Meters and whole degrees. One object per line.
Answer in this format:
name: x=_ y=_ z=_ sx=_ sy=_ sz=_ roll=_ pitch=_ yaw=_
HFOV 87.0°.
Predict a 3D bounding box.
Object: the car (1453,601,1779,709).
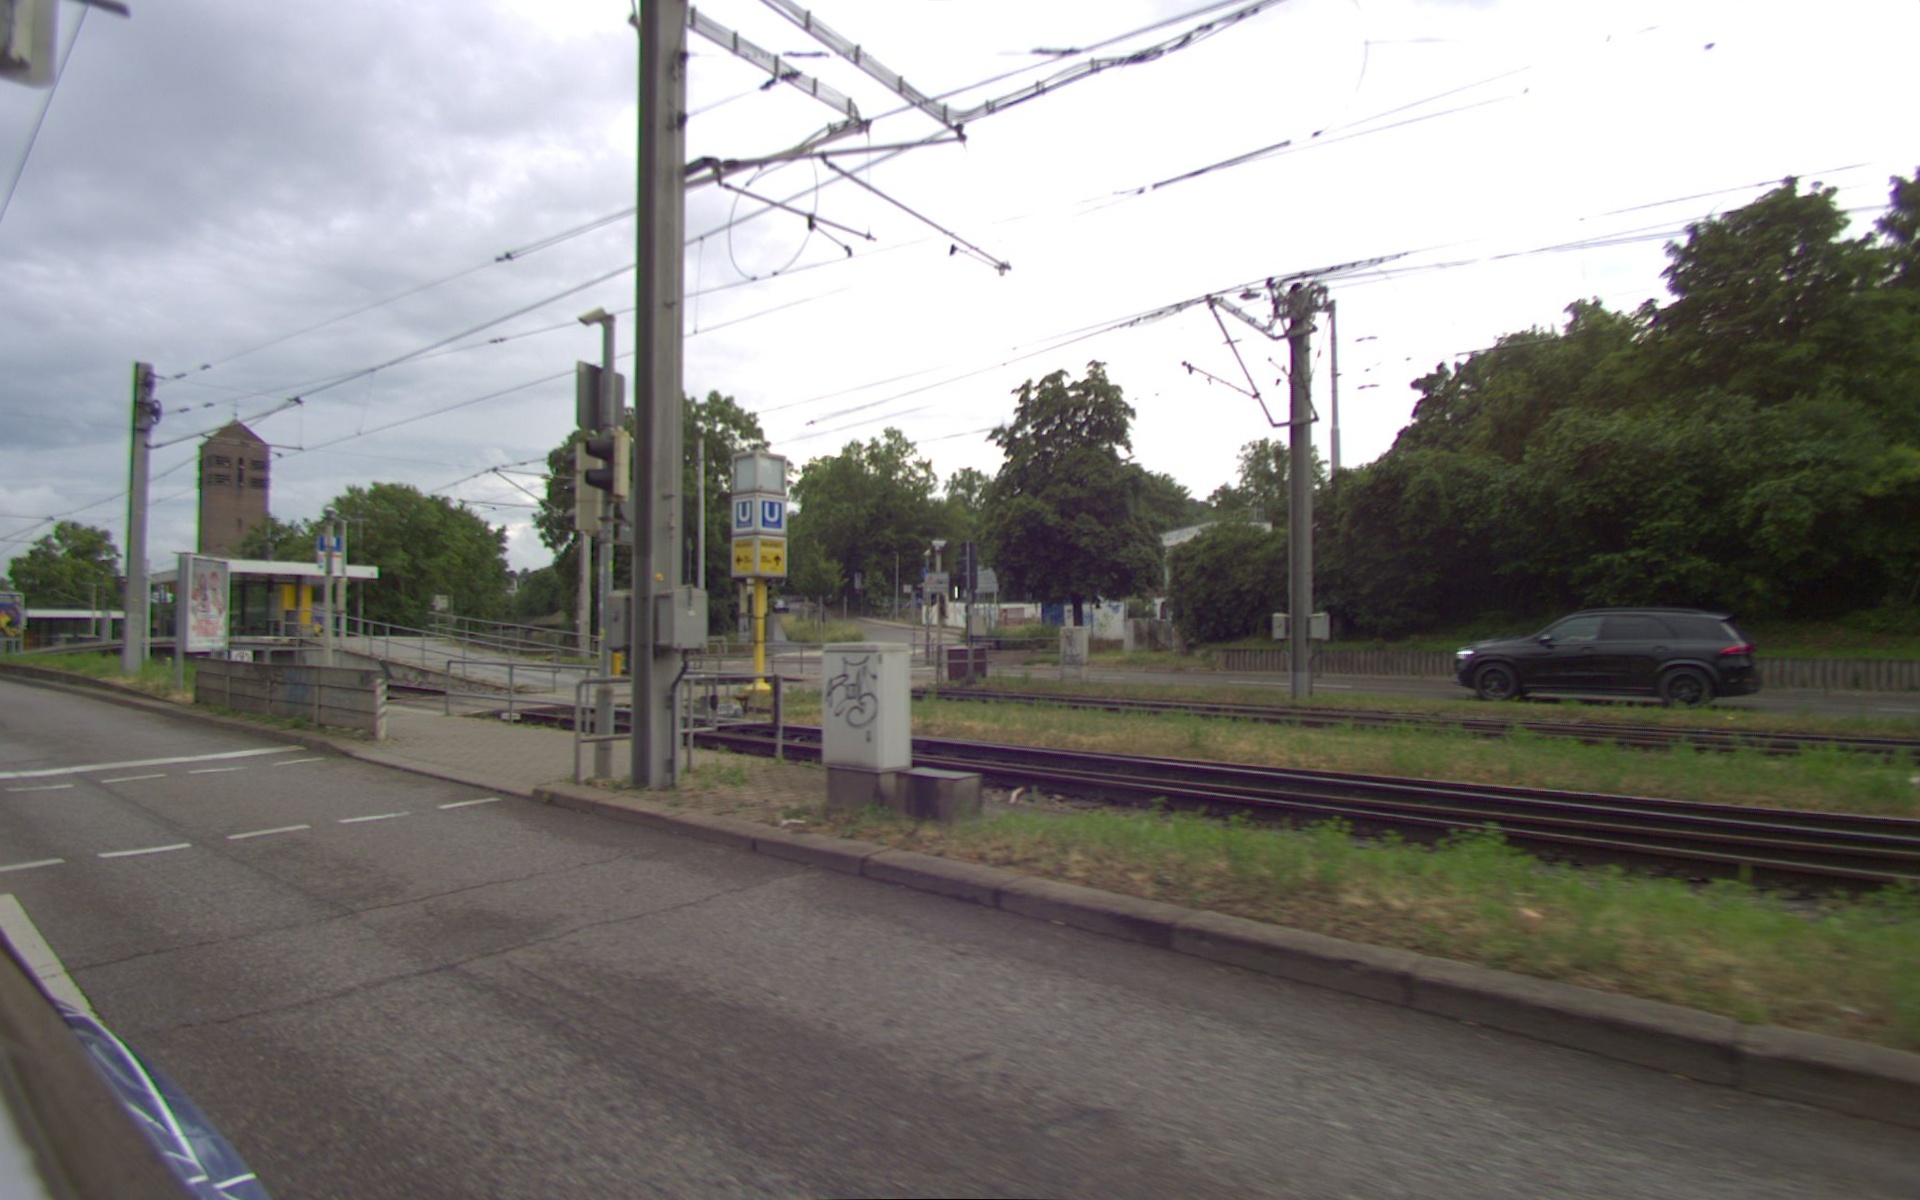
car: x=12.076 y=0.967 z=18.838 sx=4.859 sy=1.752 sz=2.062 roll=-2 pitch=-2 yaw=40
